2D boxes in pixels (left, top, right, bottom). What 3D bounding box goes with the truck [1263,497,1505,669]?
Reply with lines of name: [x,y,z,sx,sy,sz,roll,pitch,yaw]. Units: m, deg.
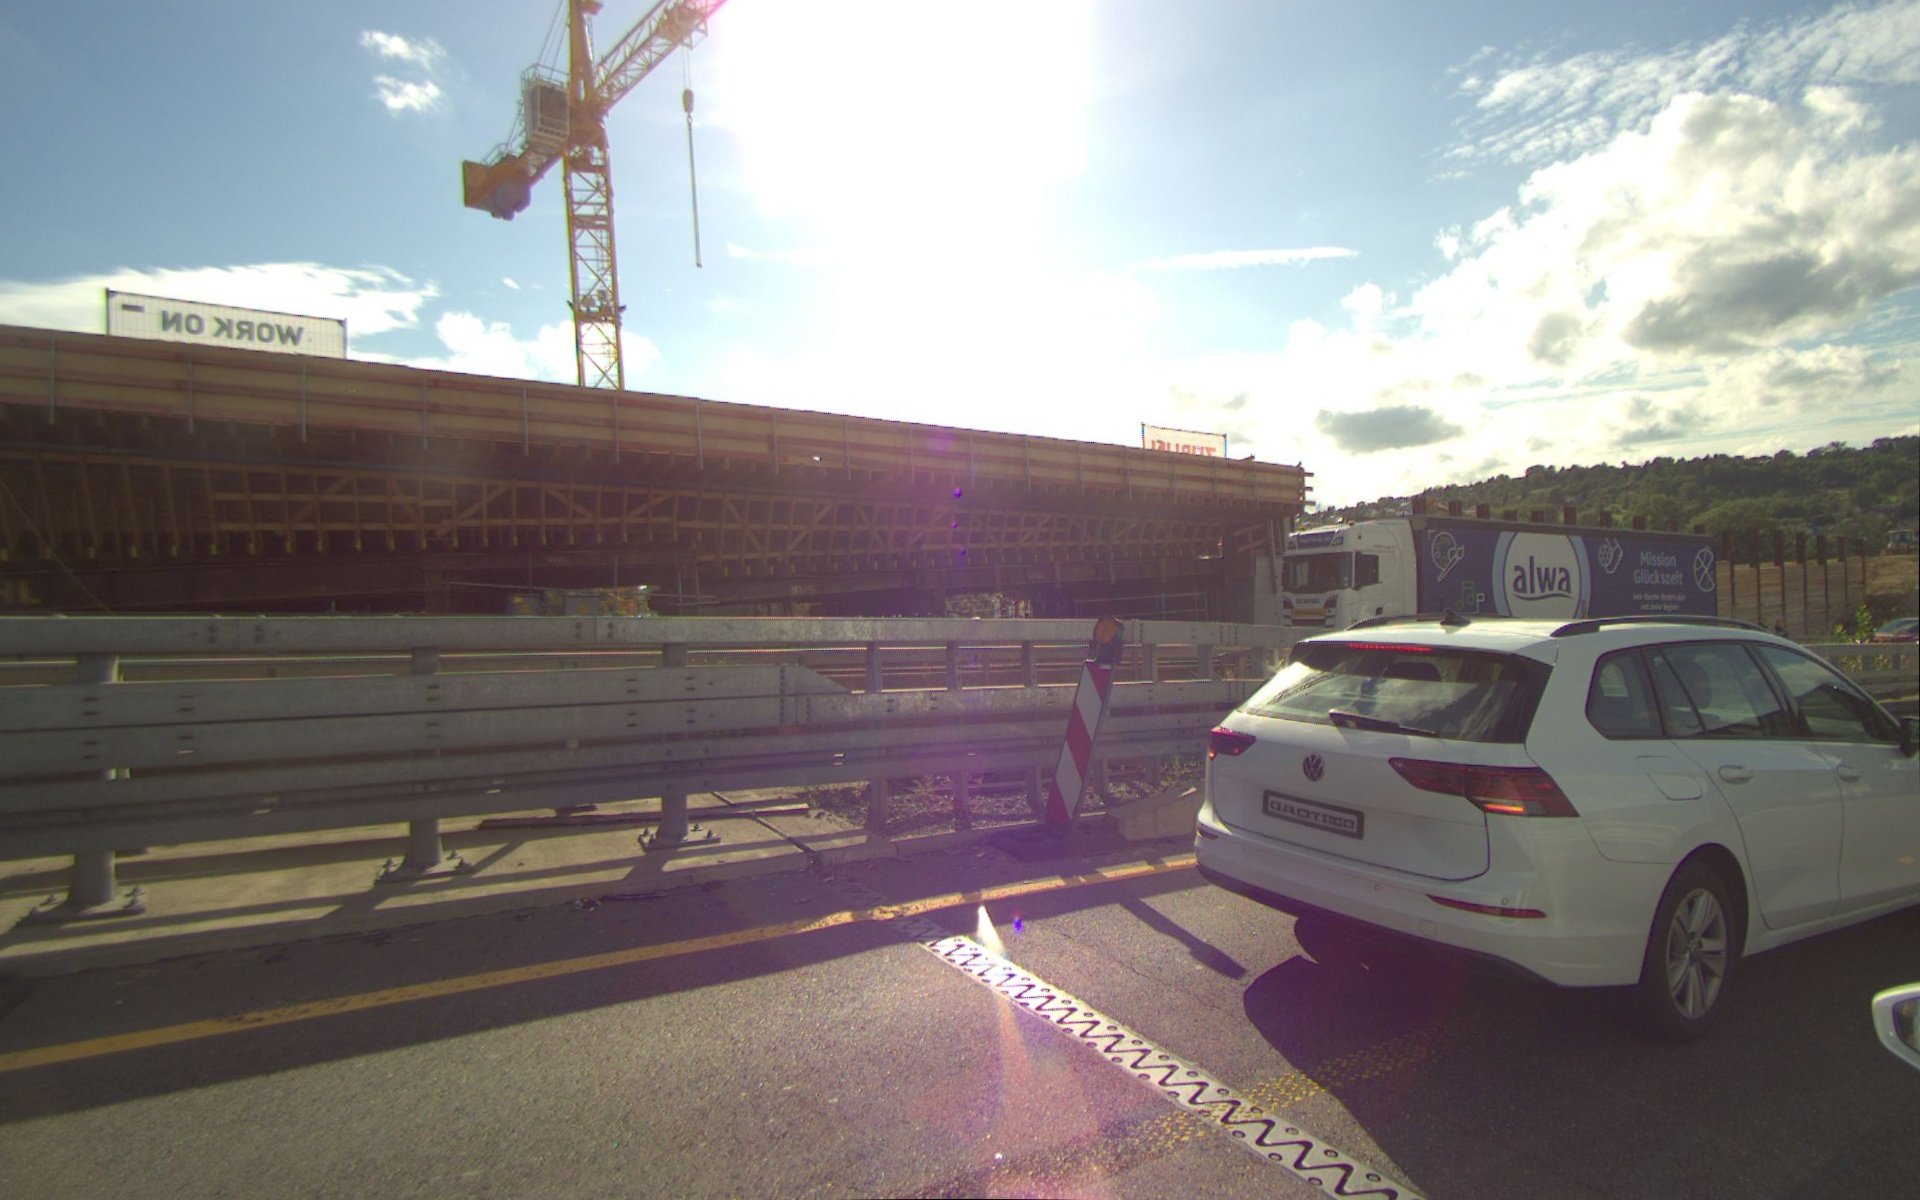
truck: [11.397,-0.327,26.996,5.891,4.192,2.703,2,0,-26]

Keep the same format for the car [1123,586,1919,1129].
car: [3.068,0.814,4.722,4.464,1.510,1.761,2,-2,-31]

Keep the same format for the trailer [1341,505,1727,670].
trailer: [17.462,-0.125,29.965,13.627,4.211,2.679,2,0,-26]

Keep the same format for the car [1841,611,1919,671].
car: [30.765,1.328,32.361,4.265,1.791,1.919,2,0,-23]

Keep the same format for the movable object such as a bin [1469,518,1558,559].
movable object such as a bin: [51.443,-5.676,93.502,4.440,3.314,5.741,2,0,-19]

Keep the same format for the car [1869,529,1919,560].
car: [81.301,-4.773,87.277,5.262,2.167,1.984,2,-5,-32]
